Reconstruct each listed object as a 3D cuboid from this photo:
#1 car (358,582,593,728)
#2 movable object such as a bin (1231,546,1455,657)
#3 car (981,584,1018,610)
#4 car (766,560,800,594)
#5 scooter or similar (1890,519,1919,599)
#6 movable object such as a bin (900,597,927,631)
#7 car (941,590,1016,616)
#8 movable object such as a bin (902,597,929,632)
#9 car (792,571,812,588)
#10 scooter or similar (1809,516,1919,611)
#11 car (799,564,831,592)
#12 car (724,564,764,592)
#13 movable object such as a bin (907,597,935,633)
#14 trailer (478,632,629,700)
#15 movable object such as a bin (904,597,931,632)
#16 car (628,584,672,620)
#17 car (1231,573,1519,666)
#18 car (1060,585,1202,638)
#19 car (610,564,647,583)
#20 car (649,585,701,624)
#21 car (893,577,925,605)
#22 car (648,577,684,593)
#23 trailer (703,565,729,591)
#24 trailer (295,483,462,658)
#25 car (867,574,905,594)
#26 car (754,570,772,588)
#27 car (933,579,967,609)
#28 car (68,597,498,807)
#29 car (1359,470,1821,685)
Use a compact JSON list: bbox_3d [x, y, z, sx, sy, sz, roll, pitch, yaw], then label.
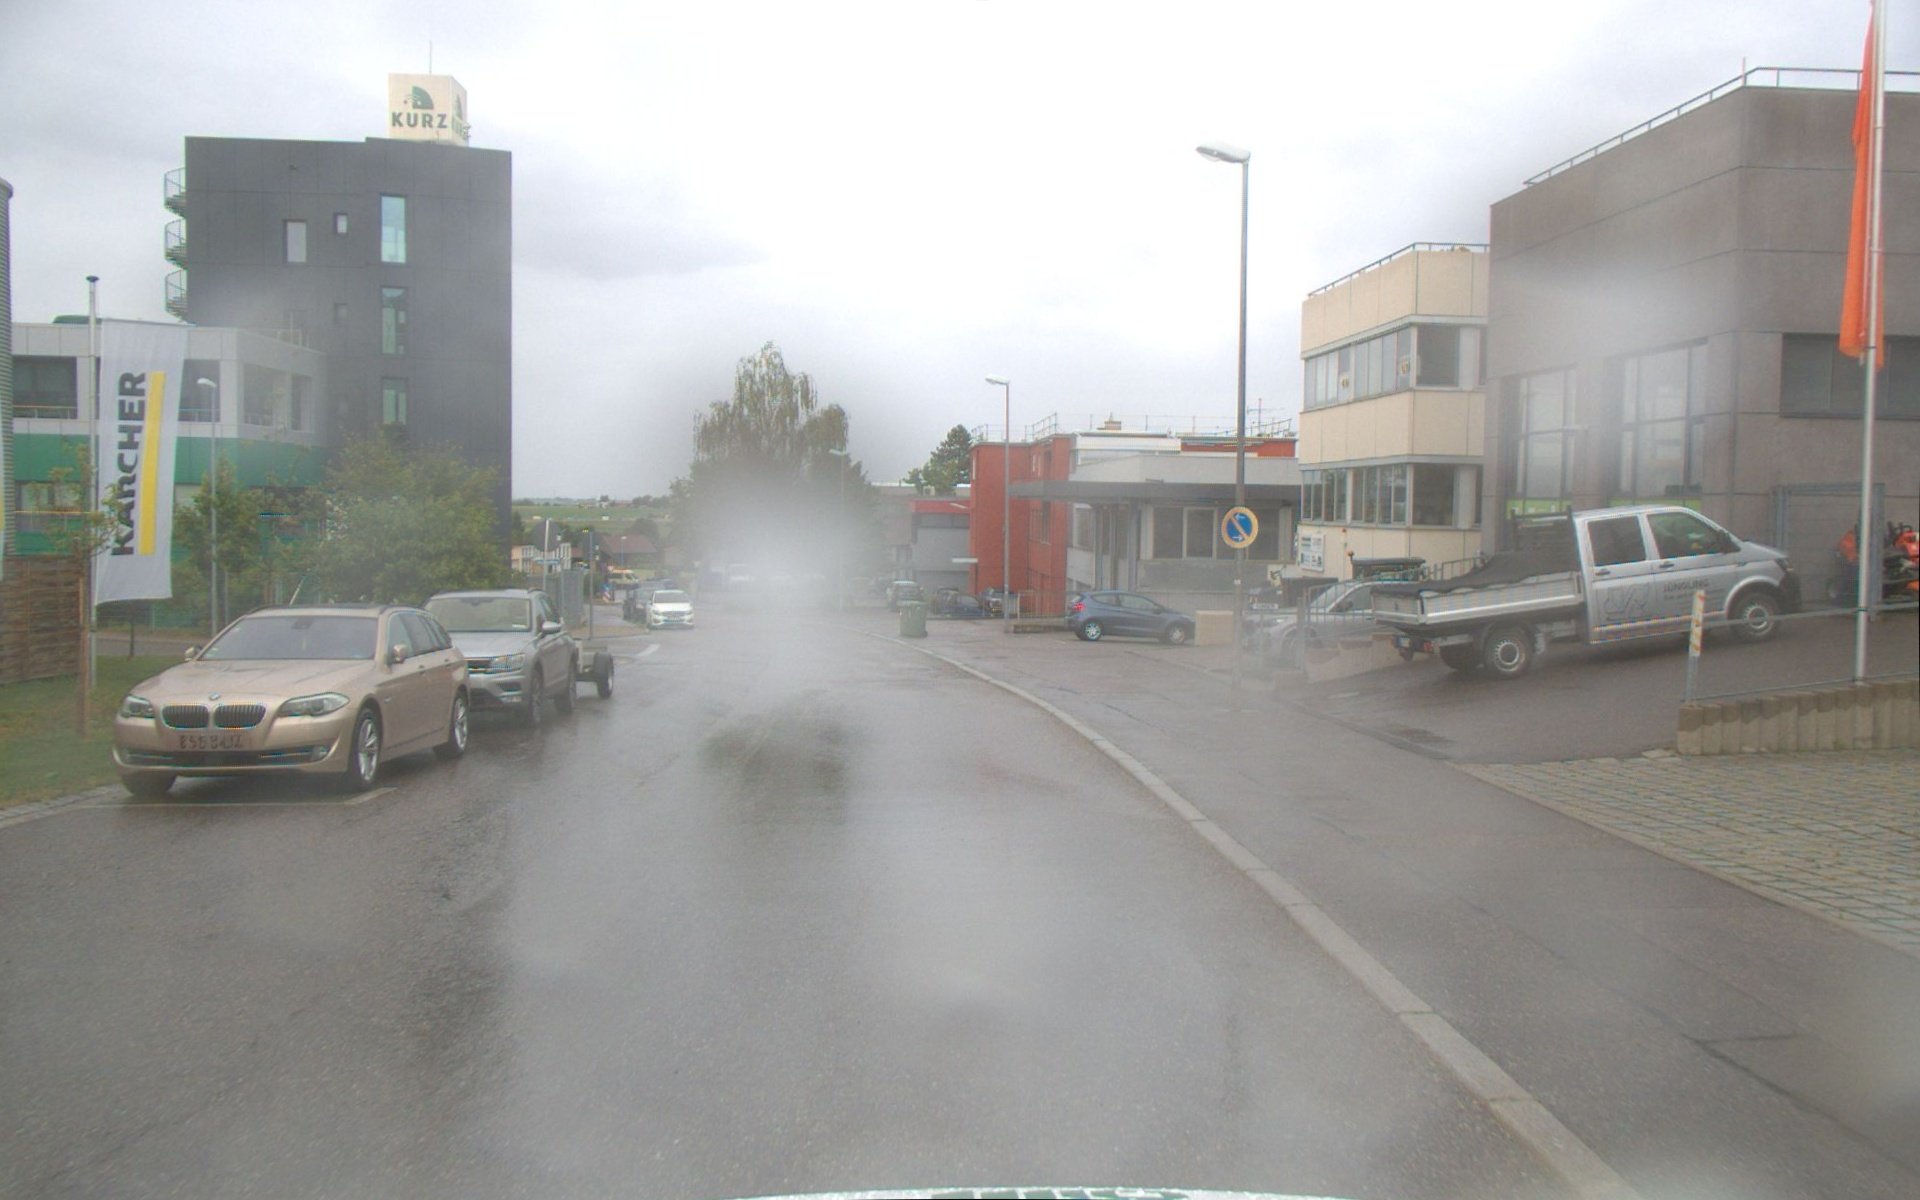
[{"bbox_3d":[-5.974,0.627,20.989,1.919,1.604,4.835,-1,0,-5],"label":"car"},{"bbox_3d":[7.698,0.022,33.409,4.169,2.147,1.476,-1,0,-3],"label":"movable object such as a bin"},{"bbox_3d":[2.173,-0.155,92.527,1.695,1.446,3.997,0,0,-4],"label":"car"},{"bbox_3d":[-13.572,-1.755,126.703,2.154,2.502,3.988,0,0,-12],"label":"car"},{"bbox_3d":[14.498,-0.626,23.928,0.983,1.175,1.845,-4,1,-1],"label":"scooter or similar"},{"bbox_3d":[-1.512,0.453,53.858,0.794,1.095,0.580,-1,0,-9],"label":"movable object such as a bin"},{"bbox_3d":[0.819,0.130,74.891,3.332,1.183,1.791,0,1,-2],"label":"car"},{"bbox_3d":[-1.428,0.453,53.304,0.794,1.109,0.540,-1,0,-9],"label":"movable object such as a bin"},{"bbox_3d":[-12.738,-1.643,133.373,1.373,1.349,2.694,0,0,-10],"label":"car"},{"bbox_3d":[13.308,-0.545,23.797,1.043,1.245,2.064,-4,2,-1],"label":"scooter or similar"},{"bbox_3d":[-11.239,-1.705,127.848,2.106,2.049,3.930,0,0,-10],"label":"car"},{"bbox_3d":[-16.485,-1.689,126.050,2.231,2.049,3.978,0,0,-19],"label":"car"},{"bbox_3d":[-1.218,0.460,52.095,0.791,1.112,0.708,-1,0,-9],"label":"movable object such as a bin"},{"bbox_3d":[-6.138,0.972,25.364,1.647,0.904,3.893,0,0,-5],"label":"trailer"},{"bbox_3d":[-1.356,0.460,52.734,0.760,1.094,0.582,-1,0,-9],"label":"movable object such as a bin"},{"bbox_3d":[-14.856,0.071,79.229,1.673,1.637,3.982,-2,1,-16],"label":"car"},{"bbox_3d":[7.841,0.347,31.523,4.991,1.642,1.923,-1,1,-5],"label":"car"},{"bbox_3d":[4.959,0.347,48.224,3.818,1.408,1.819,2,-1,-5],"label":"car"},{"bbox_3d":[-40.847,-3.217,203.799,4.152,2.265,2.000,0,-1,2],"label":"car"},{"bbox_3d":[-11.861,0.208,68.657,1.741,1.539,4.128,-1,0,-15],"label":"car"},{"bbox_3d":[-2.883,-0.501,92.489,1.663,1.501,3.997,0,0,-4],"label":"car"},{"bbox_3d":[-30.310,-1.562,170.544,2.435,1.566,3.959,0,0,-30],"label":"car"},{"bbox_3d":[-19.182,-1.707,129.864,1.820,2.049,3.989,0,1,-11],"label":"trailer"},{"bbox_3d":[-14.867,-0.713,42.241,4.101,4.276,1.999,-1,0,35],"label":"trailer"},{"bbox_3d":[-5.136,-1.082,114.476,2.501,1.375,1.240,0,0,-9],"label":"car"},{"bbox_3d":[-15.754,-1.667,132.147,1.267,1.449,2.540,0,0,-10],"label":"car"},{"bbox_3d":[-0.594,-0.314,93.363,1.705,1.682,3.997,0,0,-4],"label":"car"},{"bbox_3d":[-5.637,0.733,14.623,1.917,1.486,5.244,0,0,-4],"label":"car"},{"bbox_3d":[8.371,-0.297,22.300,5.198,2.047,2.220,-8,0,-4],"label":"car"}]
